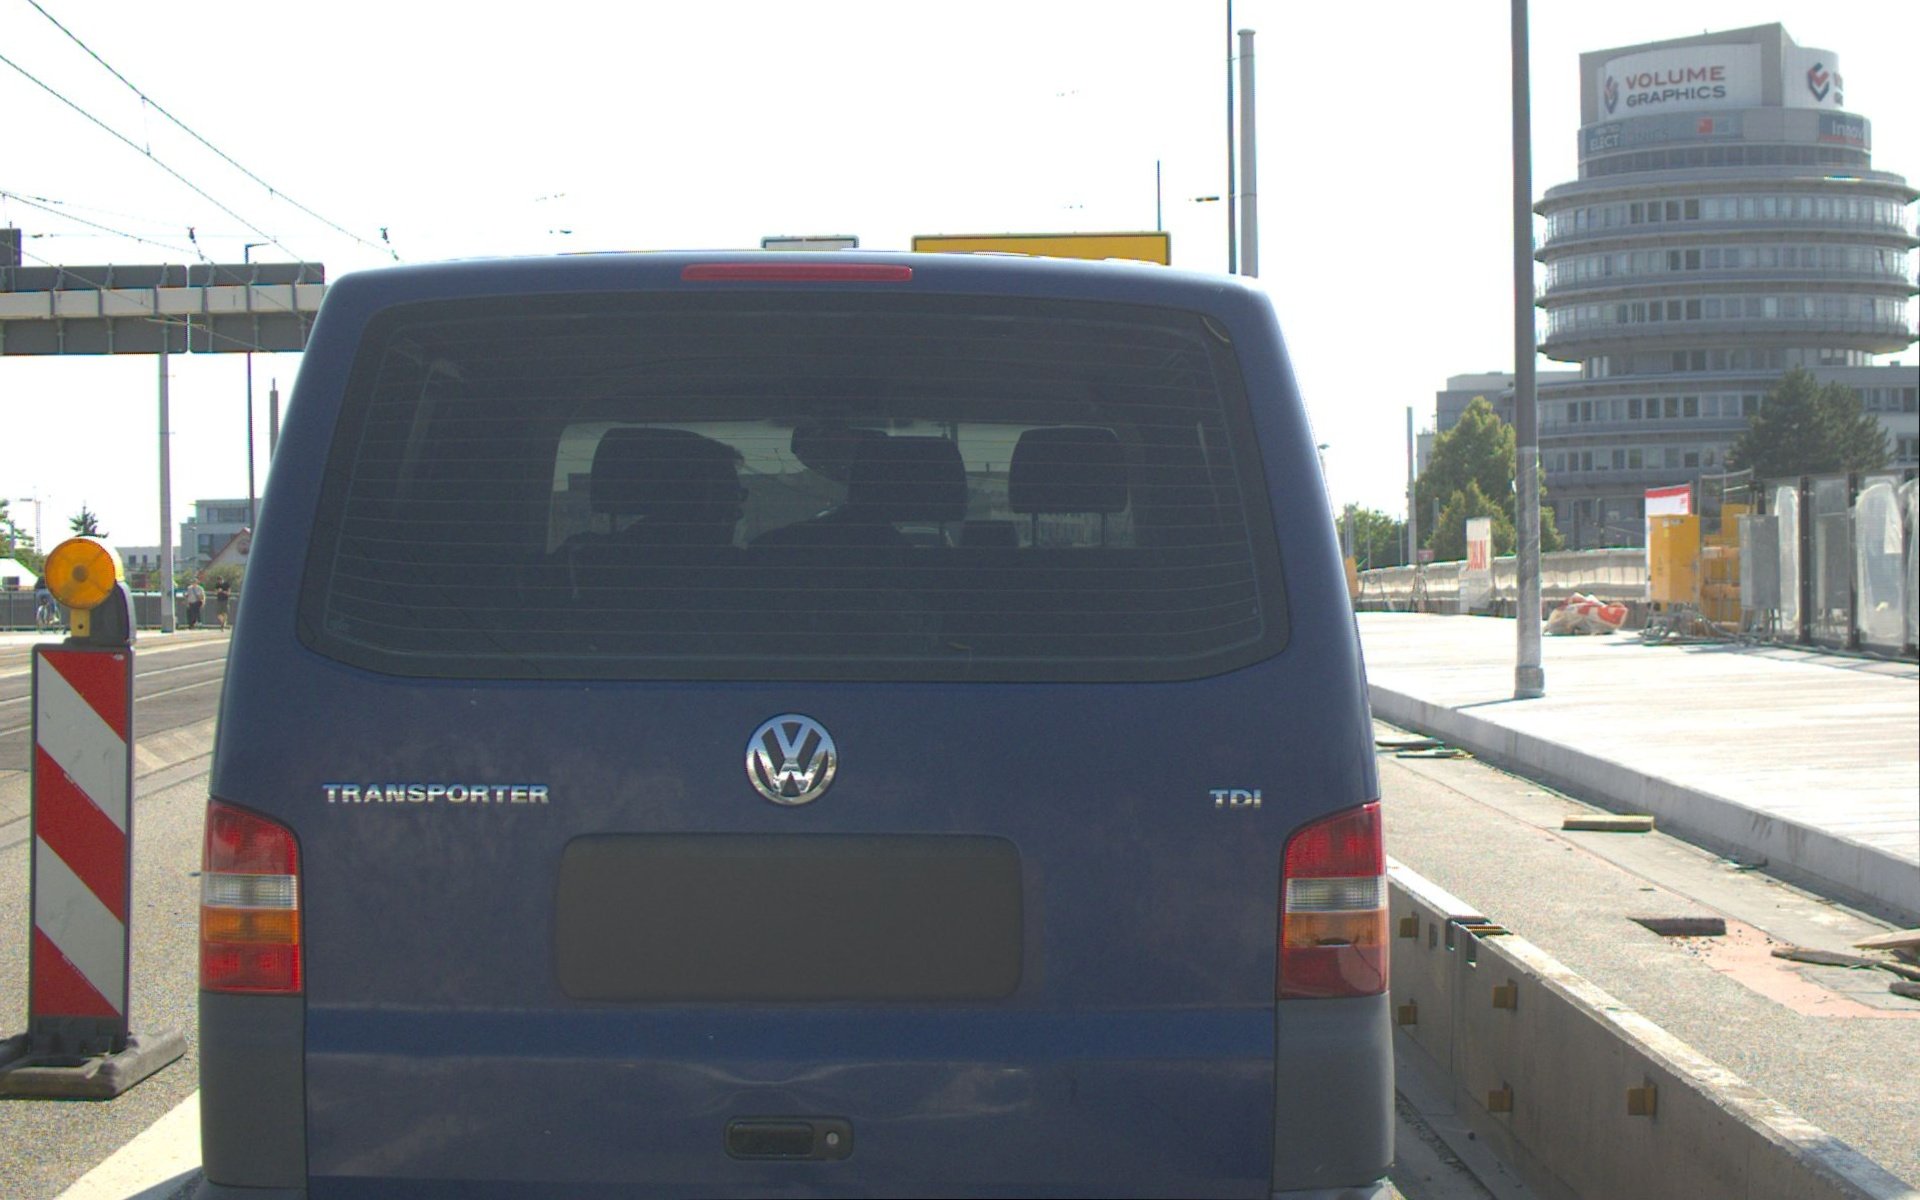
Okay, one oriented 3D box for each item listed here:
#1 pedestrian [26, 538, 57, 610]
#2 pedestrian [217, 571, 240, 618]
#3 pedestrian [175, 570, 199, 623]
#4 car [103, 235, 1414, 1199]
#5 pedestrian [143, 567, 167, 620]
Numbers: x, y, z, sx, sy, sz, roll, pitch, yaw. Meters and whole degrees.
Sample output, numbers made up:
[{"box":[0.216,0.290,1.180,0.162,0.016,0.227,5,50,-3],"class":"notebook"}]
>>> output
[{"box":[-24.237,-0.690,90.738,0.634,1.887,0.752,0,1,-1],"class":"pedestrian"},{"box":[-24.862,-0.185,116.836,0.634,1.593,0.752,0,1,-1],"class":"pedestrian"},{"box":[-25.903,-0.127,115.222,0.634,1.768,0.752,0,1,-1],"class":"pedestrian"},{"box":[-0.325,0.401,6.817,1.815,1.899,4.055,0,1,-1],"class":"car"},{"box":[-26.740,-0.219,114.184,0.634,1.746,0.752,0,1,-1],"class":"pedestrian"}]
